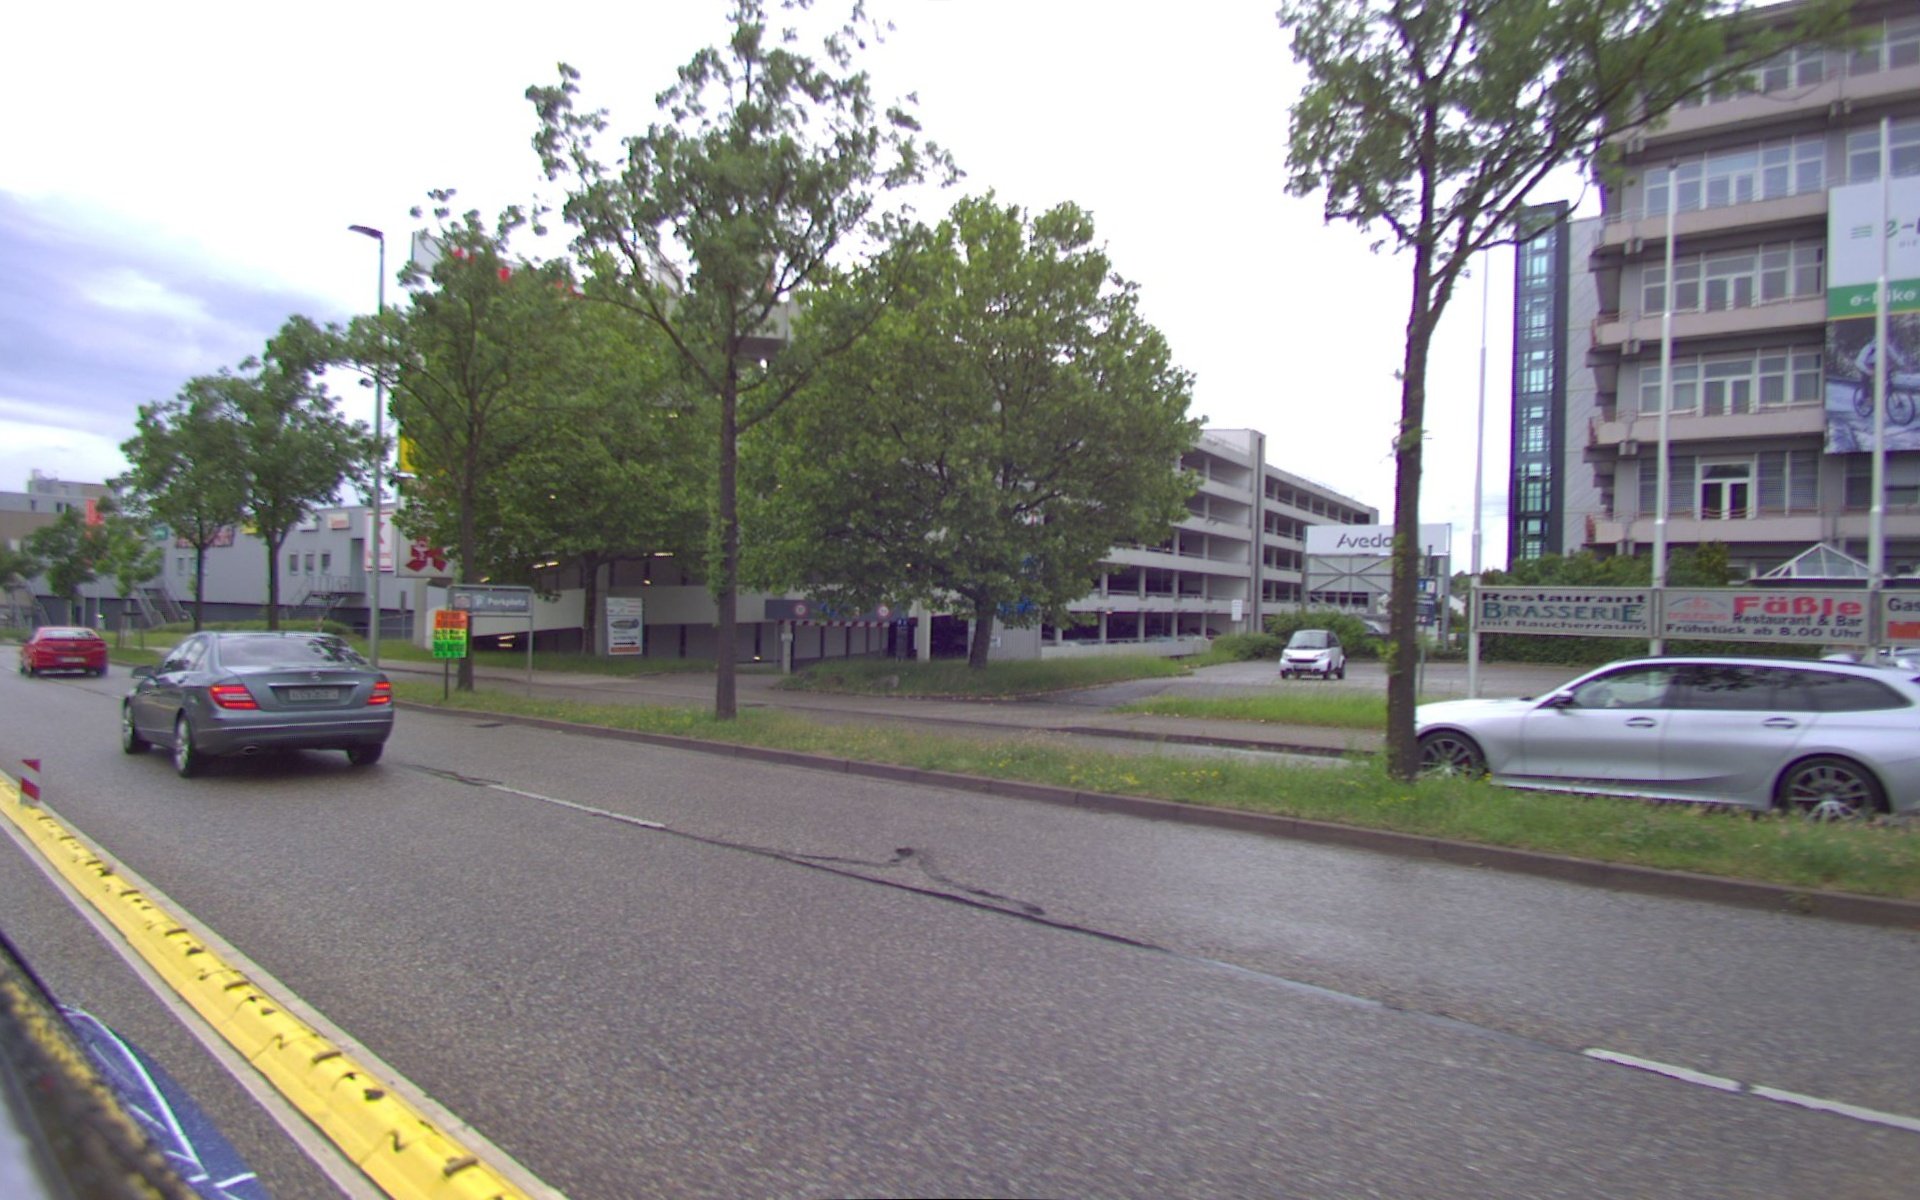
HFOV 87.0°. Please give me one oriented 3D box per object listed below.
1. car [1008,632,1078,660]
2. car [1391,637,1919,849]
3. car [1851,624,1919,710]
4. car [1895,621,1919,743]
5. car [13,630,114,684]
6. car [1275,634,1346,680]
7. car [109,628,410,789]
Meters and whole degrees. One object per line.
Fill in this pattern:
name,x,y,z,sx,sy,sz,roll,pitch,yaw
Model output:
car,4.791,2.644,58.780,3.787,1.473,1.754,-1,1,-4
car,6.617,1.153,9.281,4.572,1.565,1.848,-1,-4,40
car,22.821,1.487,23.647,1.958,1.759,4.568,-3,-1,29
car,15.148,1.036,12.713,4.701,1.621,1.916,-3,-2,36
car,-25.819,1.602,29.106,4.180,1.436,1.743,-1,-3,43
car,11.129,1.812,32.070,1.604,1.376,2.676,-3,-4,30
car,-7.773,1.045,11.054,4.375,1.421,1.649,-2,-4,41
